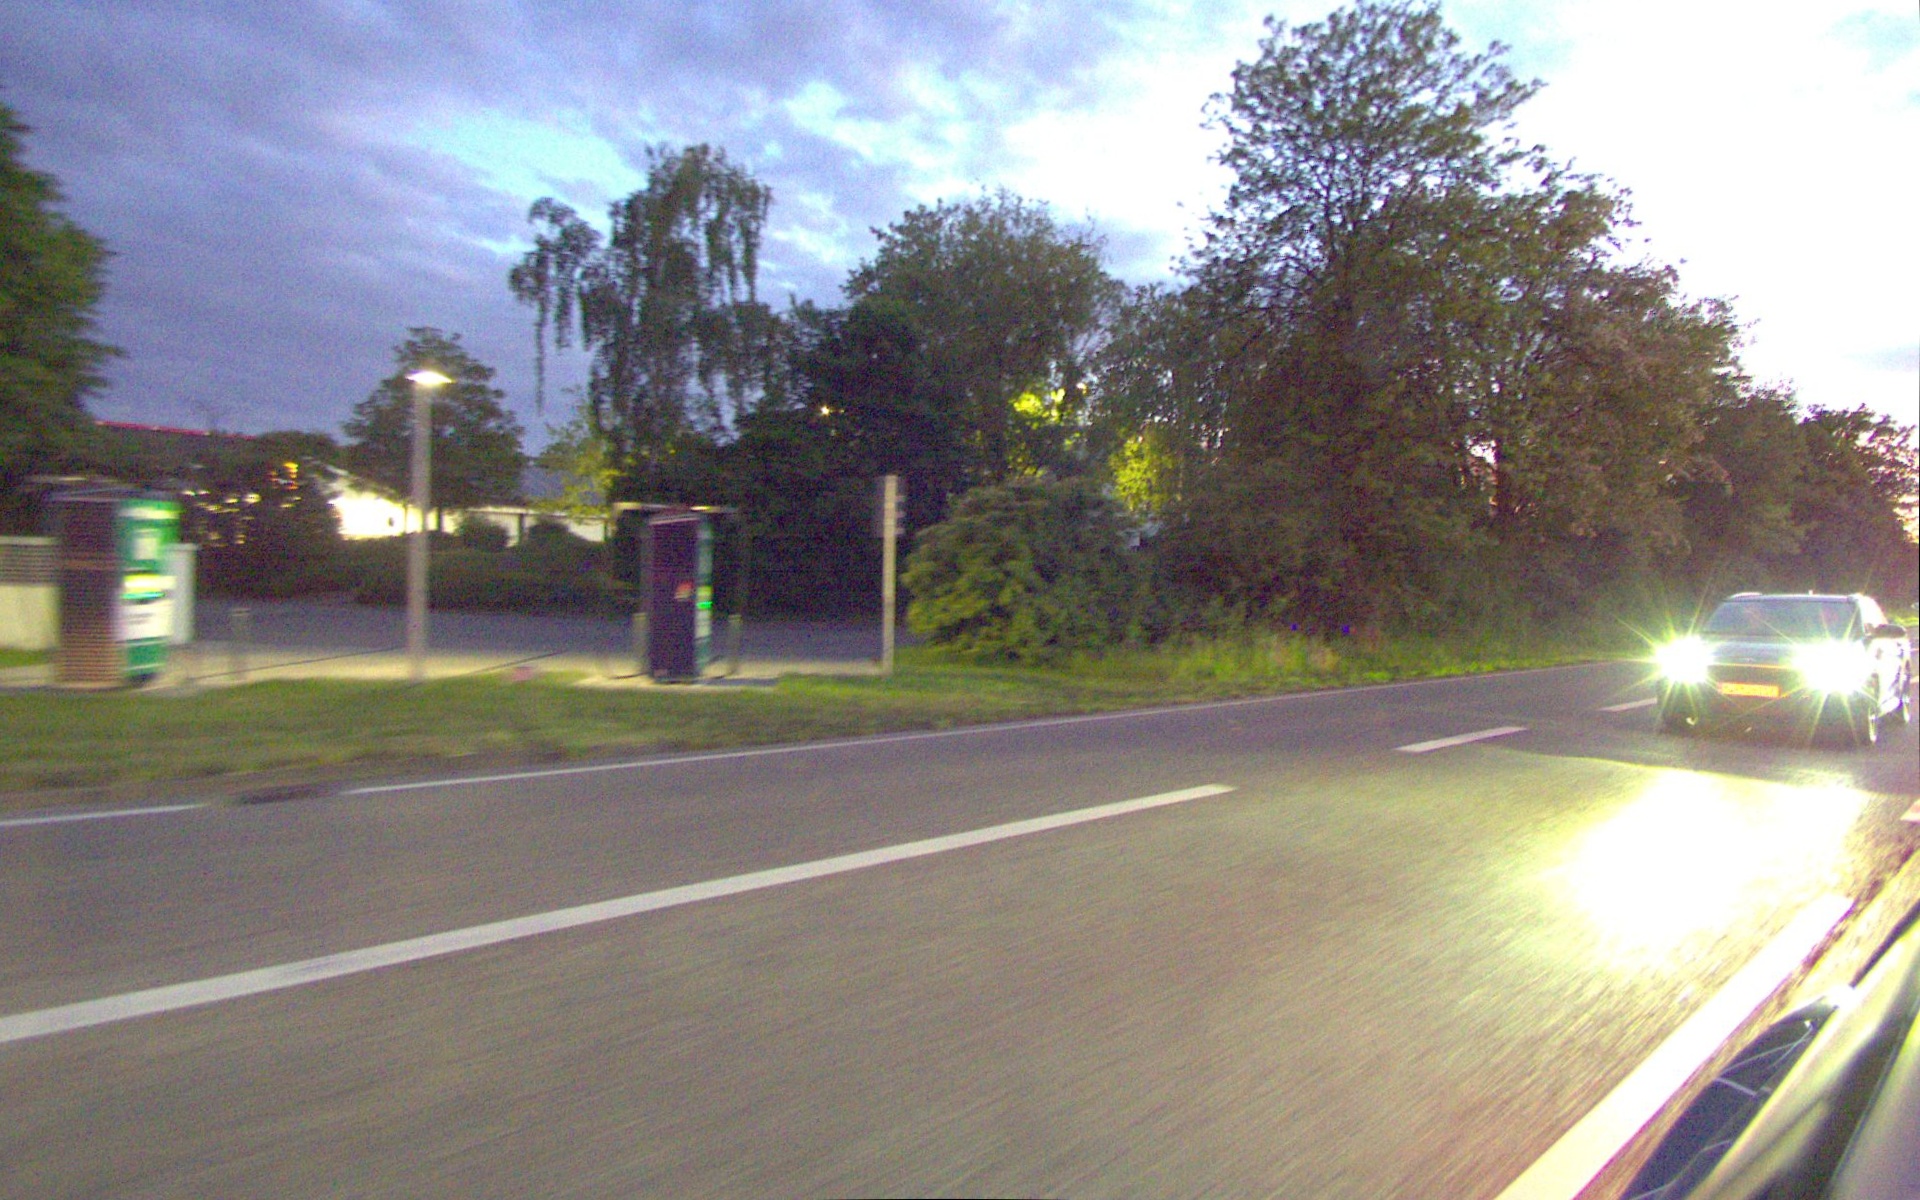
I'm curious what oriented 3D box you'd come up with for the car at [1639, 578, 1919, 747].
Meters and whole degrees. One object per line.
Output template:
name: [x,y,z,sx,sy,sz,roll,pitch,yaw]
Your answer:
car: [9.997,0.597,12.095,4.629,1.630,1.997,0,0,-41]
